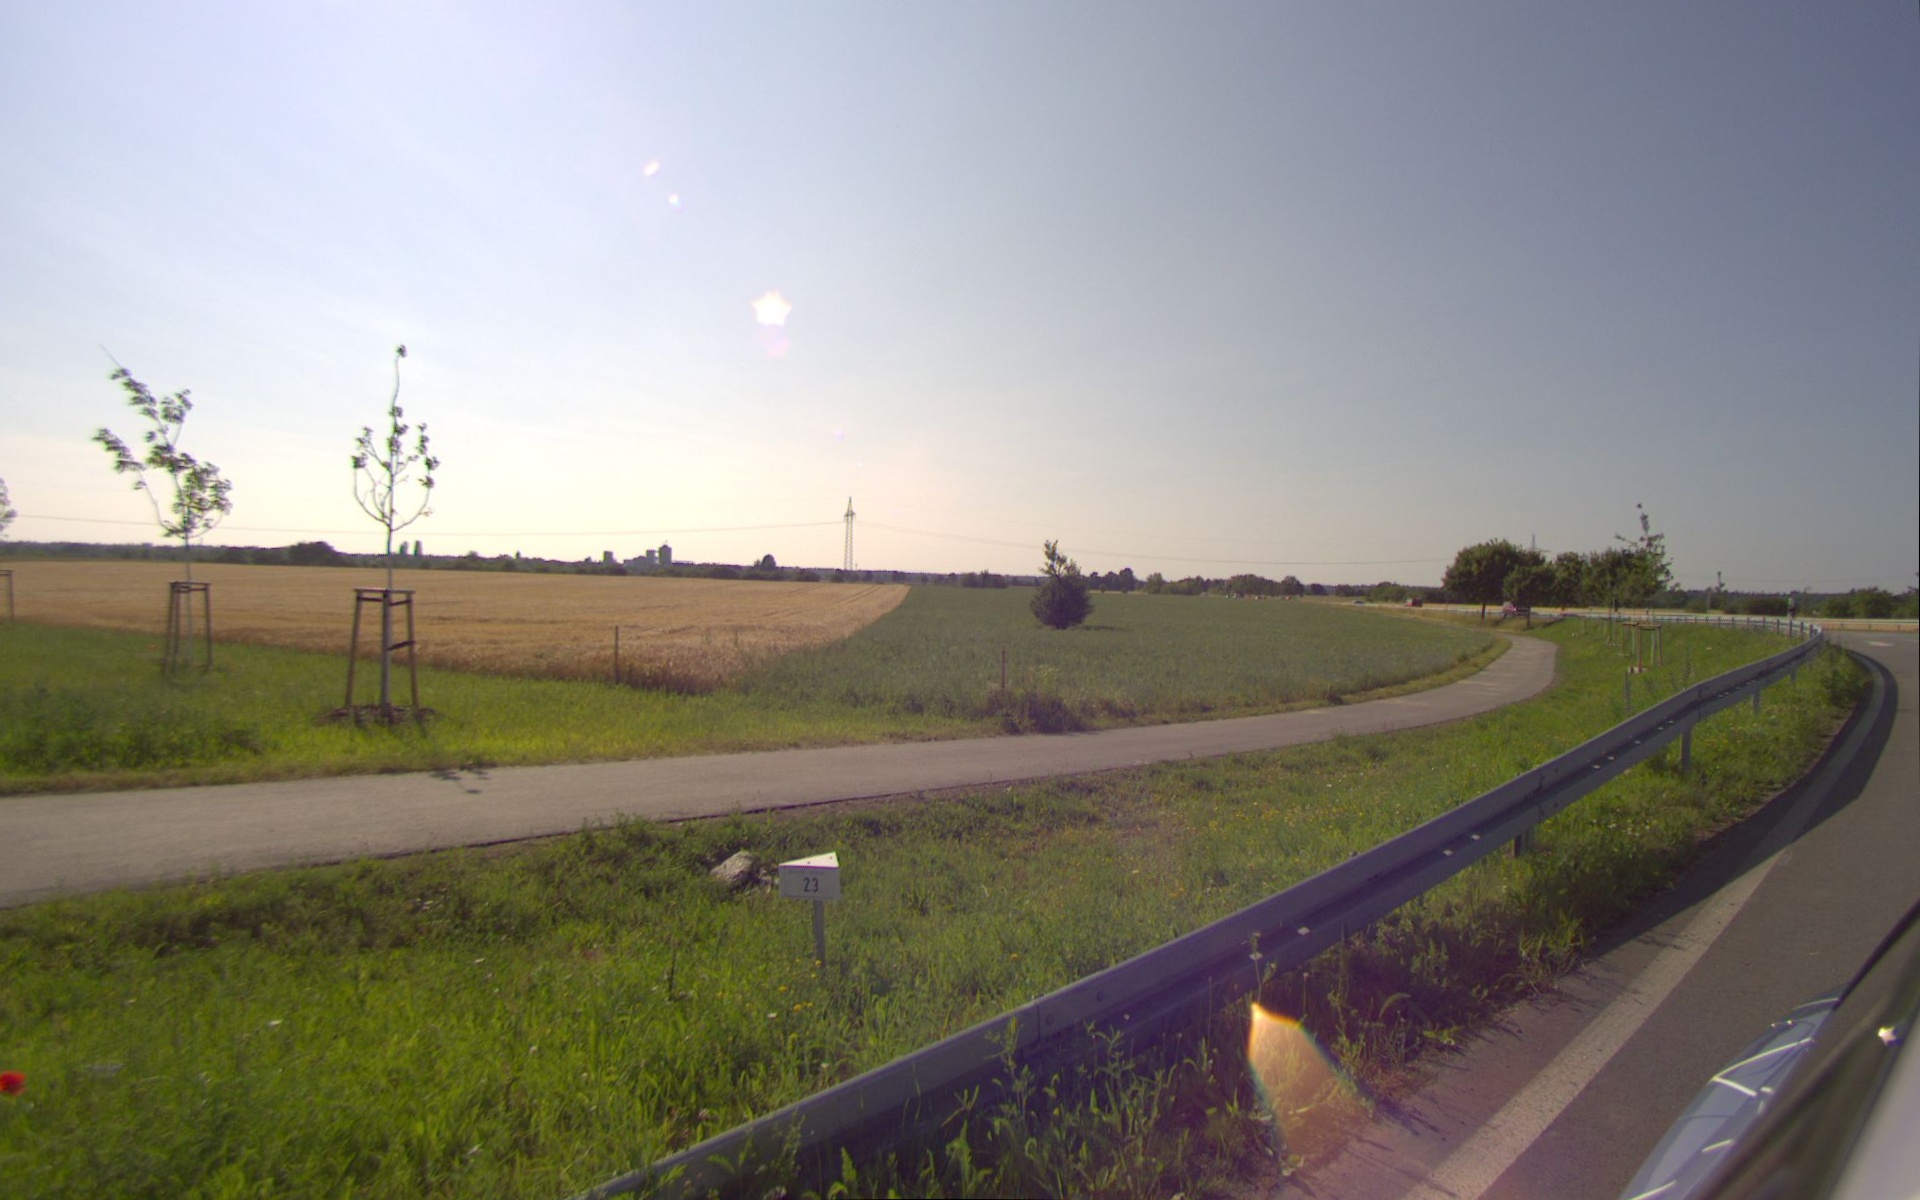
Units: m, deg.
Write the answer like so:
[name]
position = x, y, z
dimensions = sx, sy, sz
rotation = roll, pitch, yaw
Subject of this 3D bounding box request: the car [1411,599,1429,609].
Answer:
[car]
position = 78.262, 0.685, 172.253
dimensions = 1.784, 1.694, 3.992
rotation = 0, 0, 8
